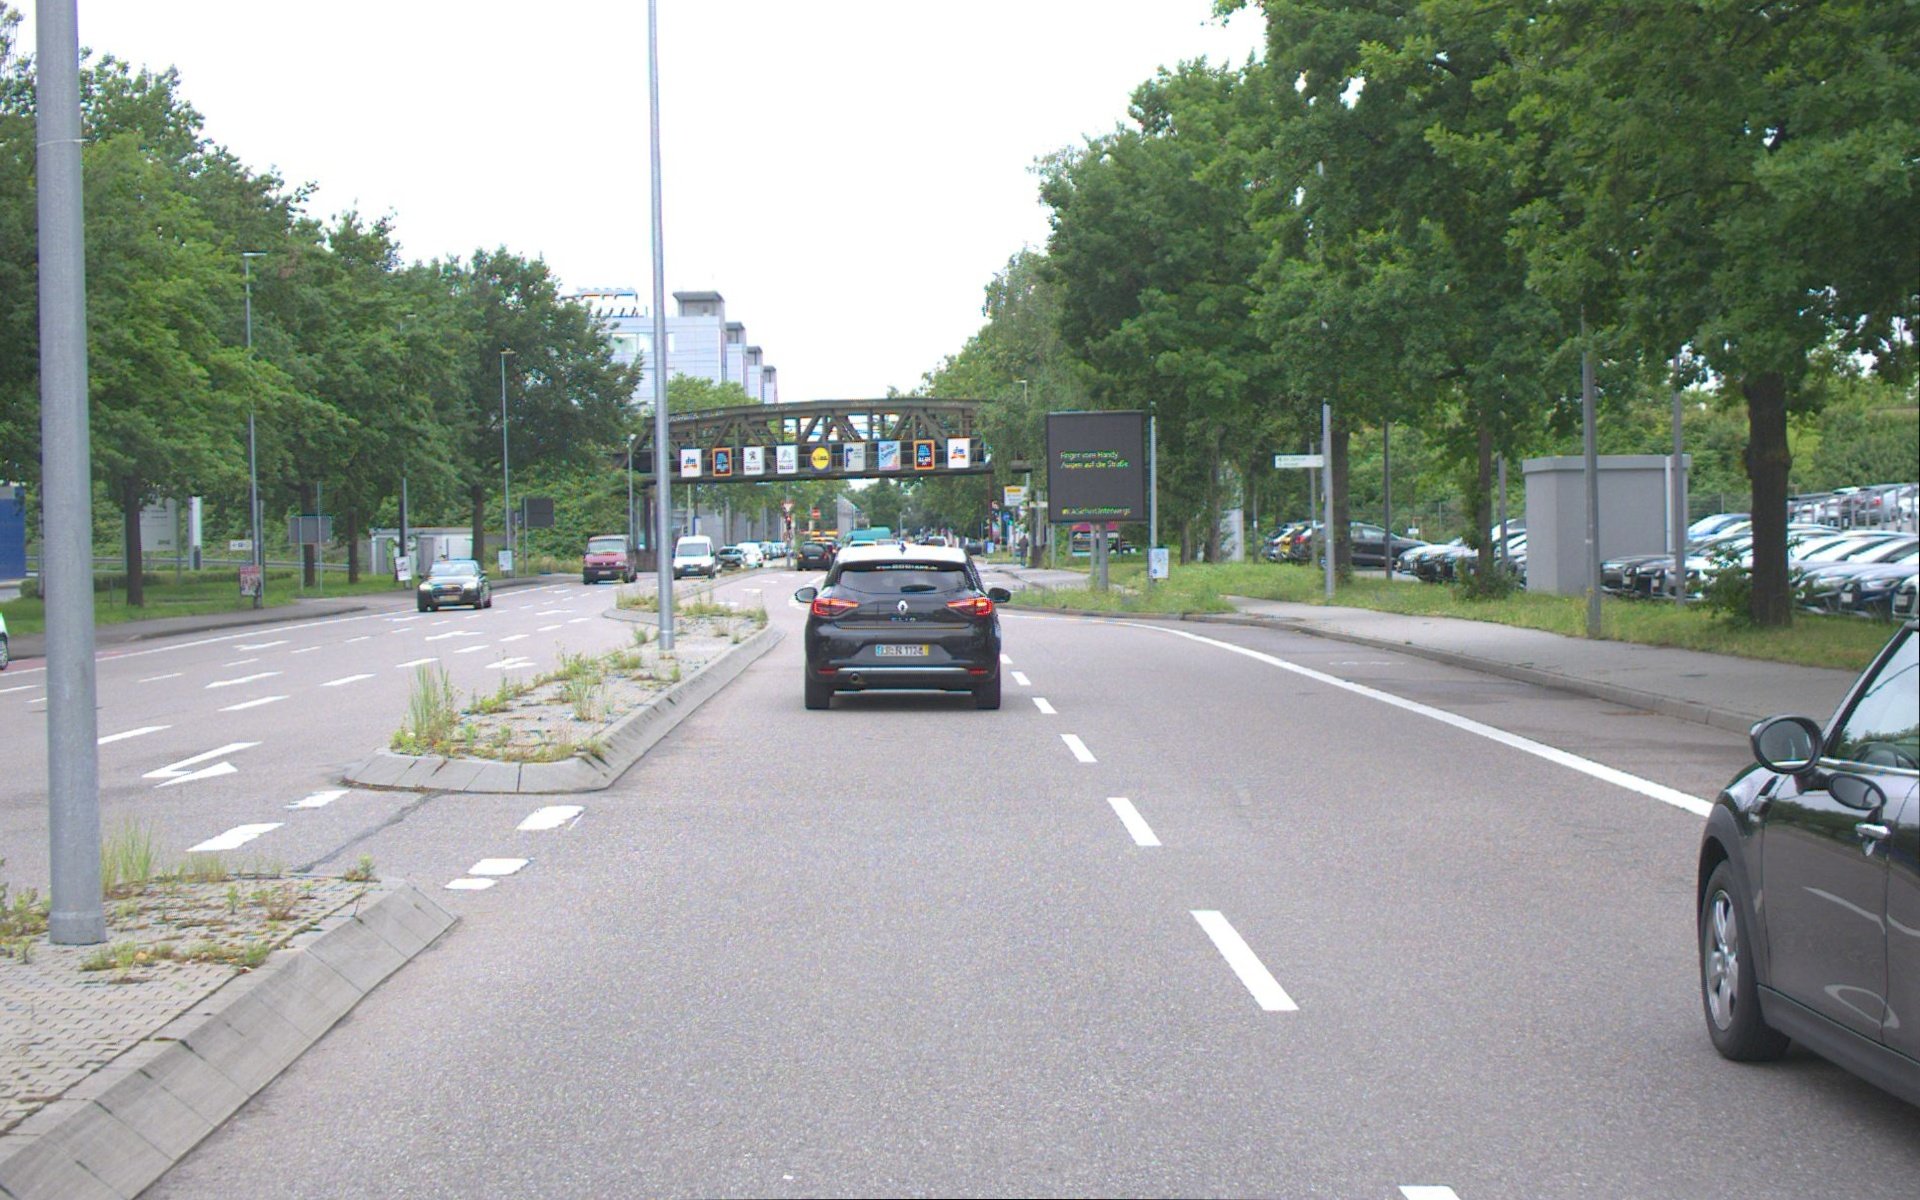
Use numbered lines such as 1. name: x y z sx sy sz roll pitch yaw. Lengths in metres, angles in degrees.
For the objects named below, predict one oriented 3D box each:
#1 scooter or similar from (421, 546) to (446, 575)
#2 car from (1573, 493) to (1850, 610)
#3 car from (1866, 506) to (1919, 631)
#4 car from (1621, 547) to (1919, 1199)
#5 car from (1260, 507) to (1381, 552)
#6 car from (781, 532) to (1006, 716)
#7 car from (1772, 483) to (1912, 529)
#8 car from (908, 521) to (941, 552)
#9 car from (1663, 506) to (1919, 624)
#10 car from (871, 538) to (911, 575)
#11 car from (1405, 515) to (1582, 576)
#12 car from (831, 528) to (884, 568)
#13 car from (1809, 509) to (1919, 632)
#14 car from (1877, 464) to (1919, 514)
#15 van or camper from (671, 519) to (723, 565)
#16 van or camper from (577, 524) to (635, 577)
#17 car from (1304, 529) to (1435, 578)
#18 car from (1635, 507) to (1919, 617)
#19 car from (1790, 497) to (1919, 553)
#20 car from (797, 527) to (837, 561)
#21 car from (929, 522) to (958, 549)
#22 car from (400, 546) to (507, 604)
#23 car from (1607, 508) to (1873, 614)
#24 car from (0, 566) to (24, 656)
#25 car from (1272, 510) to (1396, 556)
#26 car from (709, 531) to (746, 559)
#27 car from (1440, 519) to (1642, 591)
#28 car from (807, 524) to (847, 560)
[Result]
1. scooter or similar: -20.878 -1.573 136.389 0.762 1.086 2.007 0 3 -2
2. car: 13.840 -0.914 63.533 4.550 1.696 2.000 5 3 1
3. car: 13.735 -0.264 42.933 4.195 1.481 1.959 4 3 -1
4. car: 3.008 0.627 8.870 1.786 1.410 3.644 -3 3 -1
5. car: 12.023 -2.352 114.805 3.988 1.430 1.730 0 3 6
6. car: -0.530 0.163 30.751 1.757 1.429 4.000 -1 2 2
7. car: 28.904 -3.089 112.722 4.085 1.430 1.730 0 3 -2
8. car: -2.225 -4.008 215.252 1.950 1.809 4.001 0 3 2
9. car: 13.901 -0.562 55.950 4.393 1.515 2.000 5 3 0
10. car: -3.678 -2.360 184.289 1.950 1.809 4.001 0 3 2
11. car: 13.303 -1.368 85.852 4.085 1.430 1.822 0 3 -2
12. car: -4.594 -2.355 154.814 2.135 1.656 3.782 0 3 2
13. car: 13.630 -0.292 45.491 4.182 1.481 1.977 4 3 0
14. car: 29.161 -3.256 100.501 4.199 1.430 1.730 0 3 -2
15. van or camper: -10.991 -2.428 143.911 1.755 1.741 4.407 -4 2 0
16. van or camper: -14.329 -2.025 139.270 1.875 1.979 4.890 -2 2 -1
17. car: 12.664 -1.453 106.402 3.988 1.430 1.730 0 3 6
18. car: 13.884 -0.665 58.524 4.294 1.499 2.029 5 2 1
19. car: 24.456 -2.009 91.931 4.085 1.430 1.730 0 3 -2
20. car: -7.620 -2.988 183.919 1.884 1.656 3.782 0 3 2
21. car: -1.205 -4.668 249.741 1.950 1.809 4.001 0 3 2
22. car: -14.198 -0.713 96.597 1.918 1.497 4.251 -3 1 6
23. car: 13.785 -0.707 60.935 4.176 1.441 1.960 5 3 1
24. car: -16.829 0.278 55.720 1.857 1.457 4.332 -2 2 3
25. car: 12.231 -2.189 112.453 3.988 1.430 1.730 0 3 6
26. car: -13.068 -3.081 193.293 1.754 1.441 3.339 0 3 2
27. car: 13.637 -1.071 80.916 4.343 1.498 1.930 2 1 -1
28. car: -7.369 -3.228 190.708 1.950 1.809 4.001 0 3 2
